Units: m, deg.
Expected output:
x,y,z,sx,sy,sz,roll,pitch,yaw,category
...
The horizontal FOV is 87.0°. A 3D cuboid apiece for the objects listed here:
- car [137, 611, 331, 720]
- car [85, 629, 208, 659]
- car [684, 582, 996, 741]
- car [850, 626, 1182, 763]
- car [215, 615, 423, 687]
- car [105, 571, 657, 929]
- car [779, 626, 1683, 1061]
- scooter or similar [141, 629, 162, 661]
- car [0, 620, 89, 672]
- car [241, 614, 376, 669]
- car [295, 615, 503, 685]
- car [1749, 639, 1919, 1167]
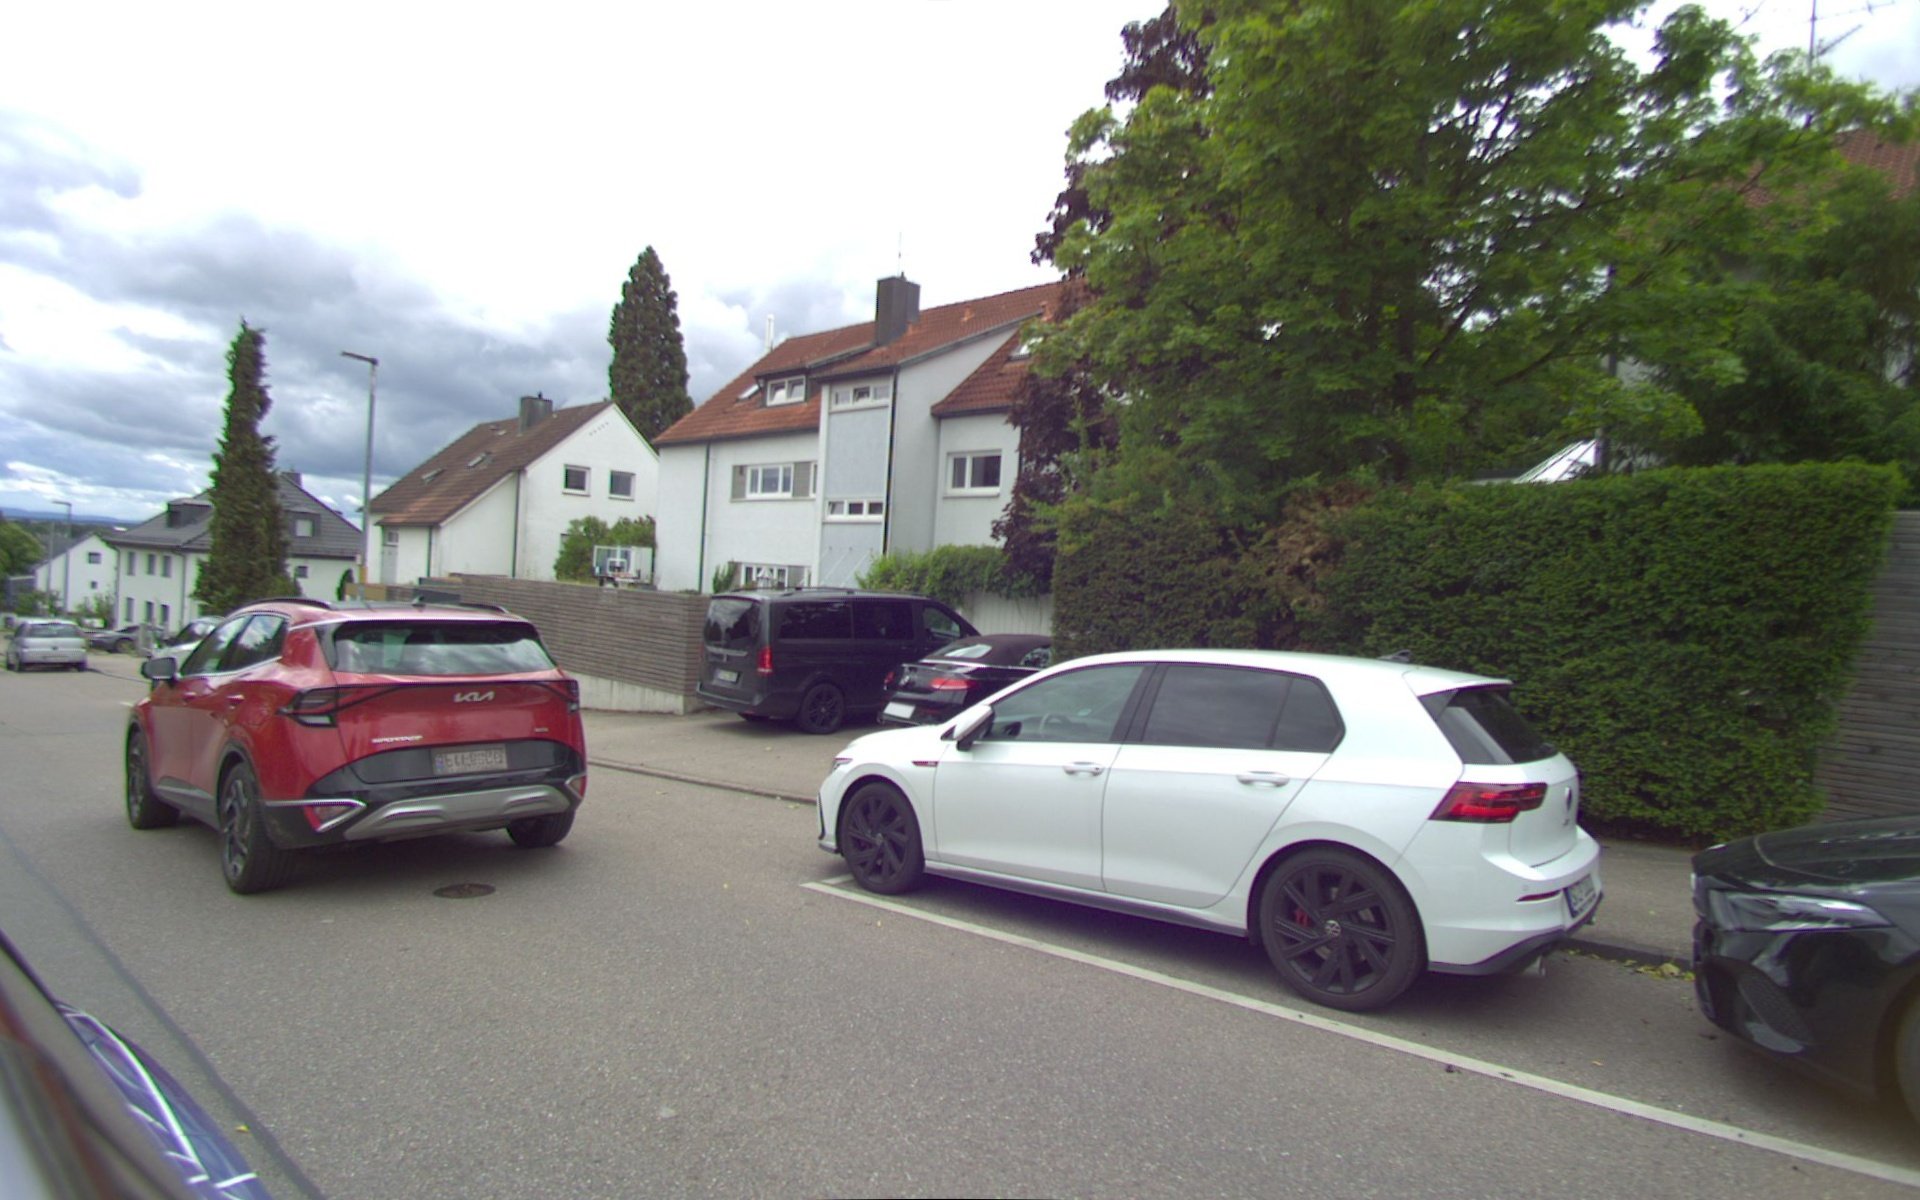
x,y,z,sx,sy,sz,roll,pitch,yaw,category
-12.805,1.095,17.748,4.407,1.679,1.817,-1,-4,42,car
-39.122,2.082,48.738,1.900,1.378,4.248,-1,-2,35,car
-1.646,0.807,14.623,4.022,1.964,2.003,2,-1,-41,car
0.777,1.056,12.720,3.934,1.456,1.783,1,-2,-36,car
-17.172,1.286,27.299,1.909,1.641,4.367,-1,1,40,car
-4.100,0.782,6.865,4.256,1.660,1.920,-1,-4,41,car
1.153,0.894,5.523,4.405,1.433,1.818,-1,-4,41,car
-30.729,1.711,38.461,0.468,1.157,1.458,-1,-1,-33,scooter or similar
-29.165,1.439,32.102,3.853,1.575,1.742,-1,-3,41,car
-21.191,1.289,32.975,1.656,1.590,3.392,0,1,42,car
-14.167,1.249,25.724,1.854,1.624,4.248,-1,-3,44,car
4.450,0.862,2.317,4.078,1.434,1.709,-1,-3,42,car
